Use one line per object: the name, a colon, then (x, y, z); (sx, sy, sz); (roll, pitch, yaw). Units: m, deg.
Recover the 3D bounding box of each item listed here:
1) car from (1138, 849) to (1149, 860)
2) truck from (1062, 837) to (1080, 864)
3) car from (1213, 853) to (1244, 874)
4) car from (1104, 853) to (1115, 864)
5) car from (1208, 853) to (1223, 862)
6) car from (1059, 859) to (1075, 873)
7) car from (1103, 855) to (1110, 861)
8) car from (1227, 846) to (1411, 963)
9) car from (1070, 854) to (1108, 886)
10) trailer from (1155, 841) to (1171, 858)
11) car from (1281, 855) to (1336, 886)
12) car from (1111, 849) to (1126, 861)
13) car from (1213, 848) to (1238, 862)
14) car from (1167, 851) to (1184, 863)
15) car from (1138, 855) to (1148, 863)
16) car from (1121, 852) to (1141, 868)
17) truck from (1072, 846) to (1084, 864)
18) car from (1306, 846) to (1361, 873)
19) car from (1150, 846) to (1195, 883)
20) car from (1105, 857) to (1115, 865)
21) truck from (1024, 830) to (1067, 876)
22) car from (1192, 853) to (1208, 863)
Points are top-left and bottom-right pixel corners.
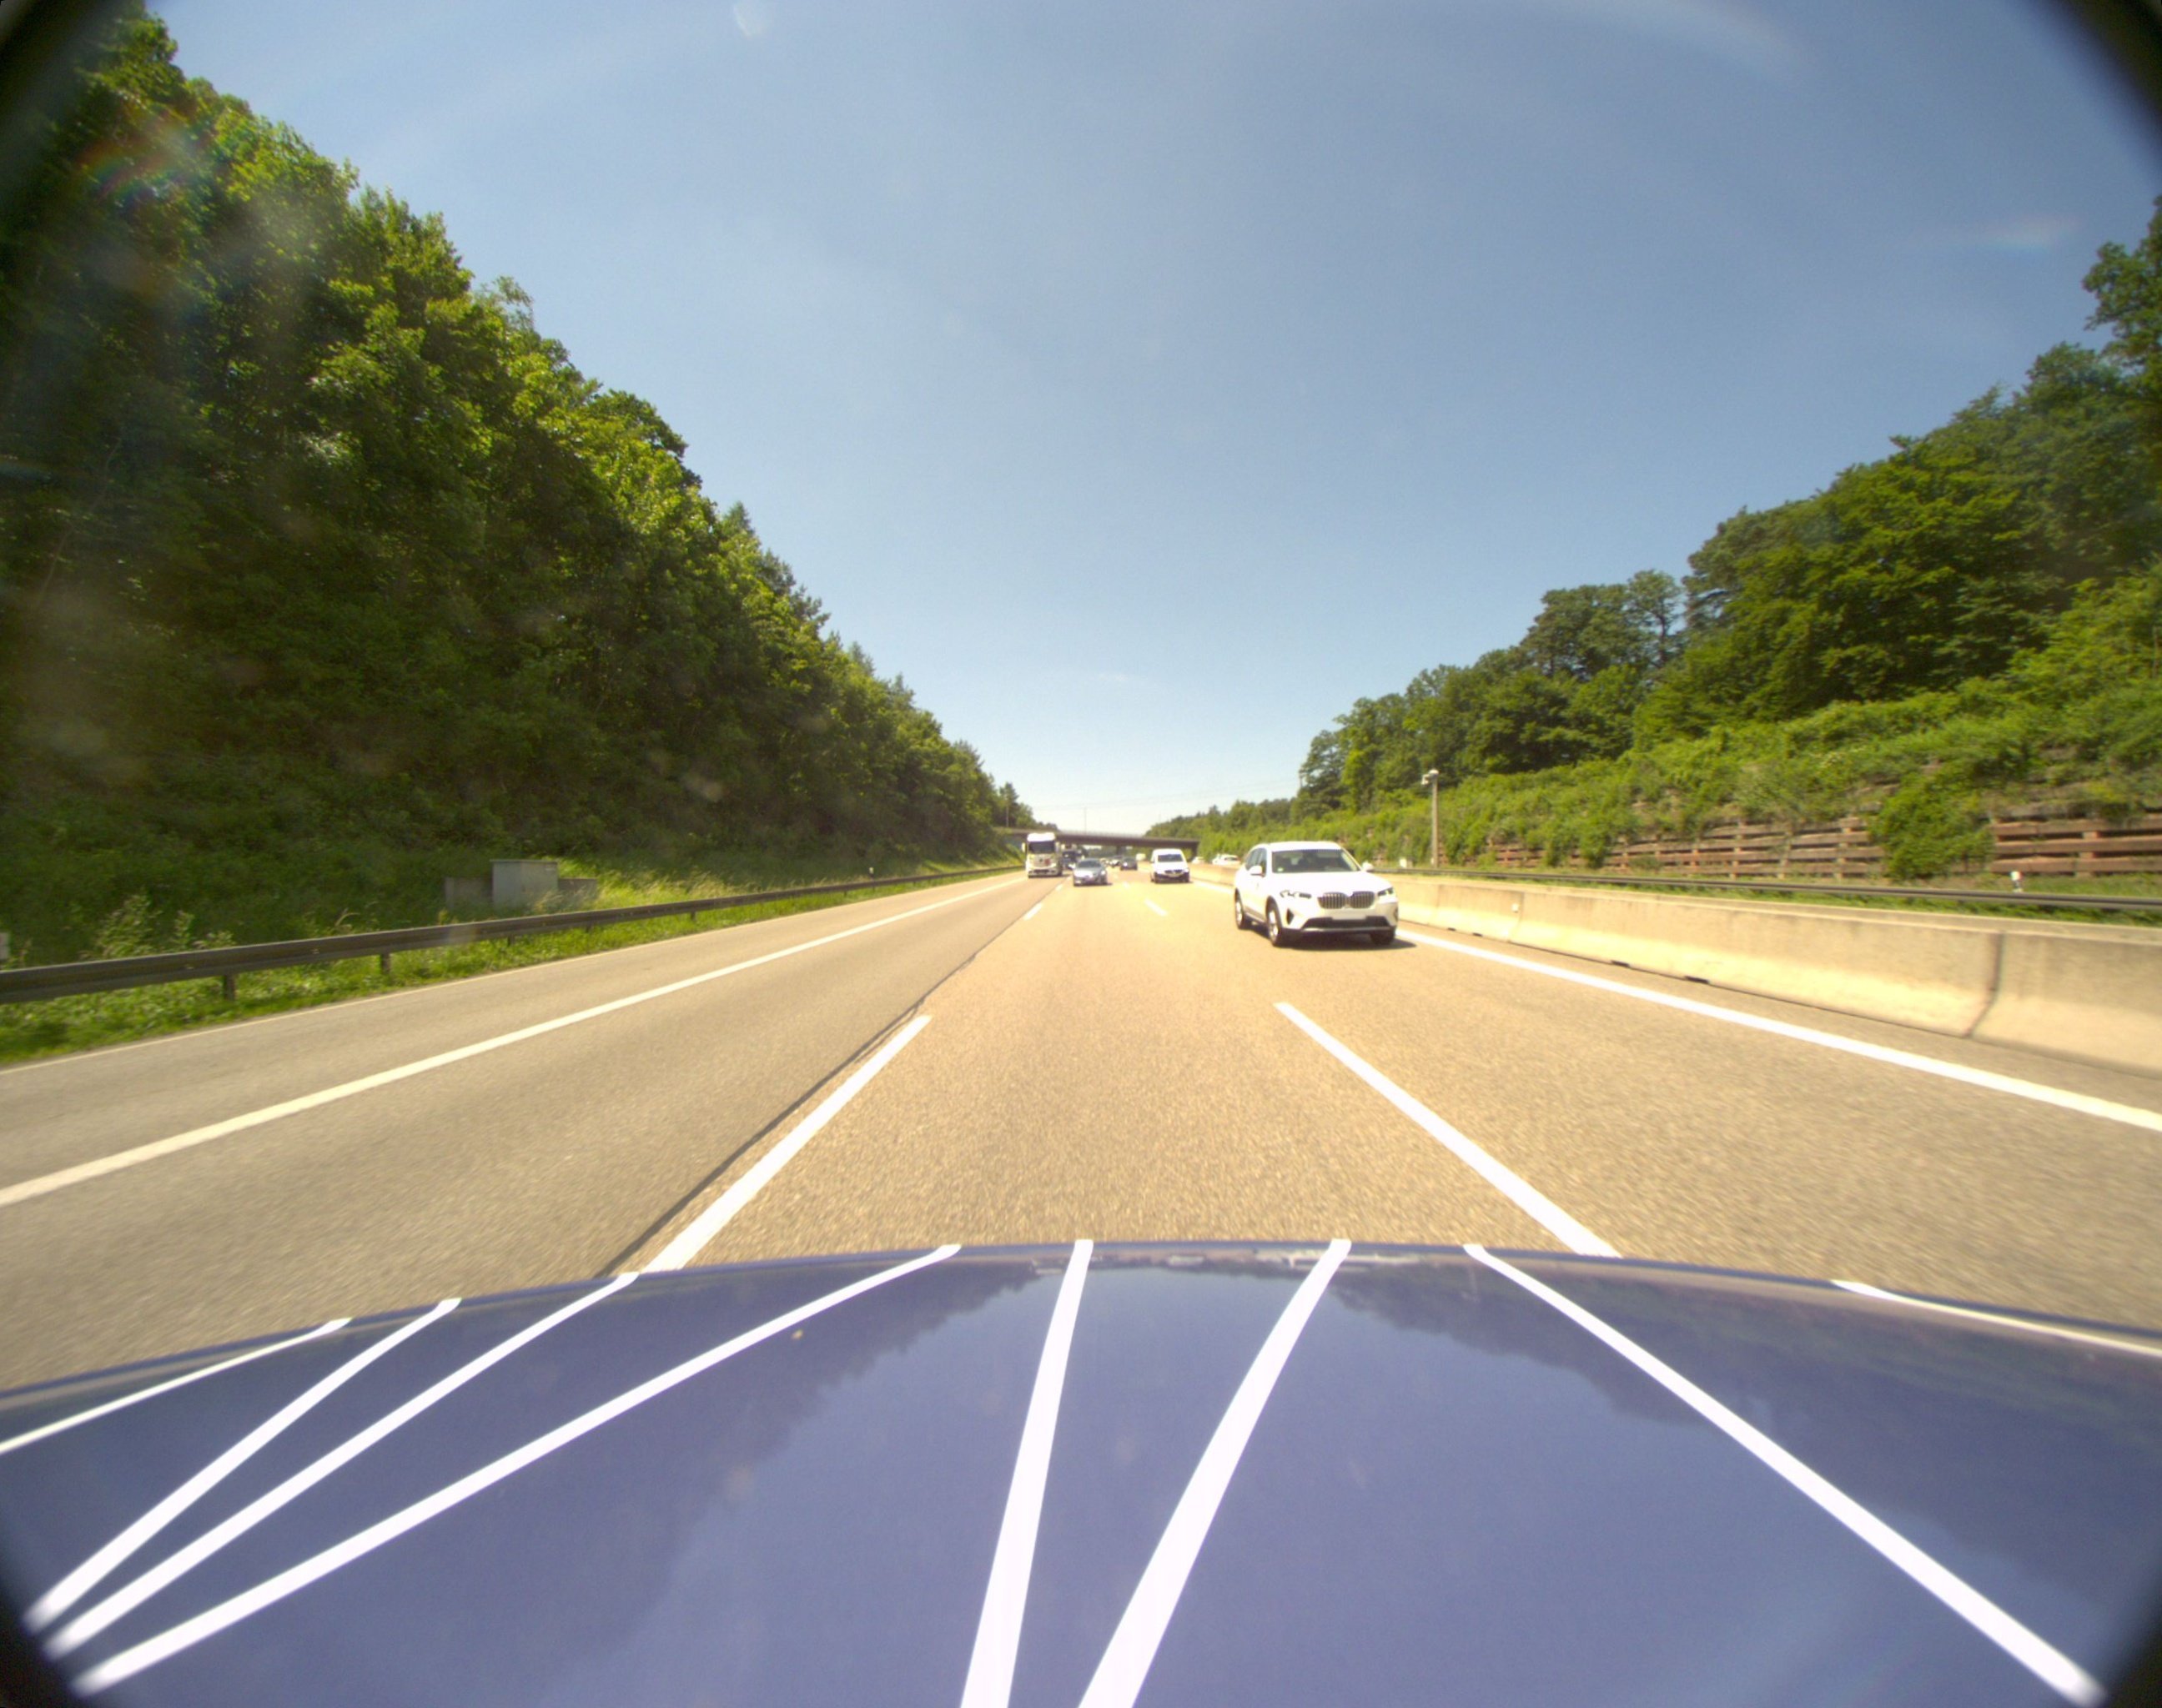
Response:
car: (14.831, 0.106, 179.669); (2.245, 2.667, 5.341); (0, 0, 1)
truck: (-1.740, -0.631, 134.798); (2.627, 4.365, 13.086); (-3, 0, 1)
car: (11.966, 0.757, 61.865); (1.750, 1.595, 4.058); (0, 0, 1)
car: (5.122, 0.719, 136.748); (1.924, 1.849, 4.000); (-3, 0, 2)
car: (24.430, 0.632, 137.688); (1.944, 1.595, 4.464); (0, 0, 1)
car: (-1.708, 1.473, 92.606); (1.770, 1.504, 4.000); (-3, 0, 1)
car: (7.388, 1.081, 220.940); (1.944, 1.616, 4.281); (0, 0, 1)
car: (3.890, 0.735, 13.265); (1.850, 1.634, 4.368); (-2, 0, 1)
car: (0.482, 0.800, 41.279); (1.843, 1.518, 4.501); (-3, 0, 2)
trailer: (22.117, -1.251, 205.784); (2.942, 4.161, 14.183); (-2, 0, 1)
car: (12.106, 0.838, 40.737); (1.766, 1.595, 4.081); (0, 0, 1)
car: (5.100, 0.184, 103.592); (1.770, 1.504, 4.000); (-3, 0, 1)
car: (16.944, 0.106, 89.404); (1.887, 1.628, 5.649); (0, 0, 1)
car: (12.921, 0.451, 104.013); (1.757, 1.628, 4.303); (0, 0, 1)
car: (12.606, 0.973, 154.766); (1.736, 1.595, 4.281); (0, 0, 1)
car: (5.406, 0.623, 82.267); (1.770, 1.504, 4.725); (-3, 0, 1)
truck: (-0.742, 0.235, 189.741); (2.627, 4.365, 13.086); (-3, 0, 1)
car: (15.646, 0.306, 47.313); (1.944, 1.595, 4.656); (0, 0, 1)
car: (4.867, 0.530, 40.948); (1.998, 1.764, 4.501); (-3, 0, 2)
car: (6.098, 1.387, 159.589); (1.770, 1.504, 4.000); (-3, 0, 1)
truck: (-2.956, -0.140, 66.597); (2.844, 3.518, 13.086); (-3, 0, 1)
car: (20.243, 0.629, 129.641); (1.944, 1.595, 4.860); (0, 0, 1)
